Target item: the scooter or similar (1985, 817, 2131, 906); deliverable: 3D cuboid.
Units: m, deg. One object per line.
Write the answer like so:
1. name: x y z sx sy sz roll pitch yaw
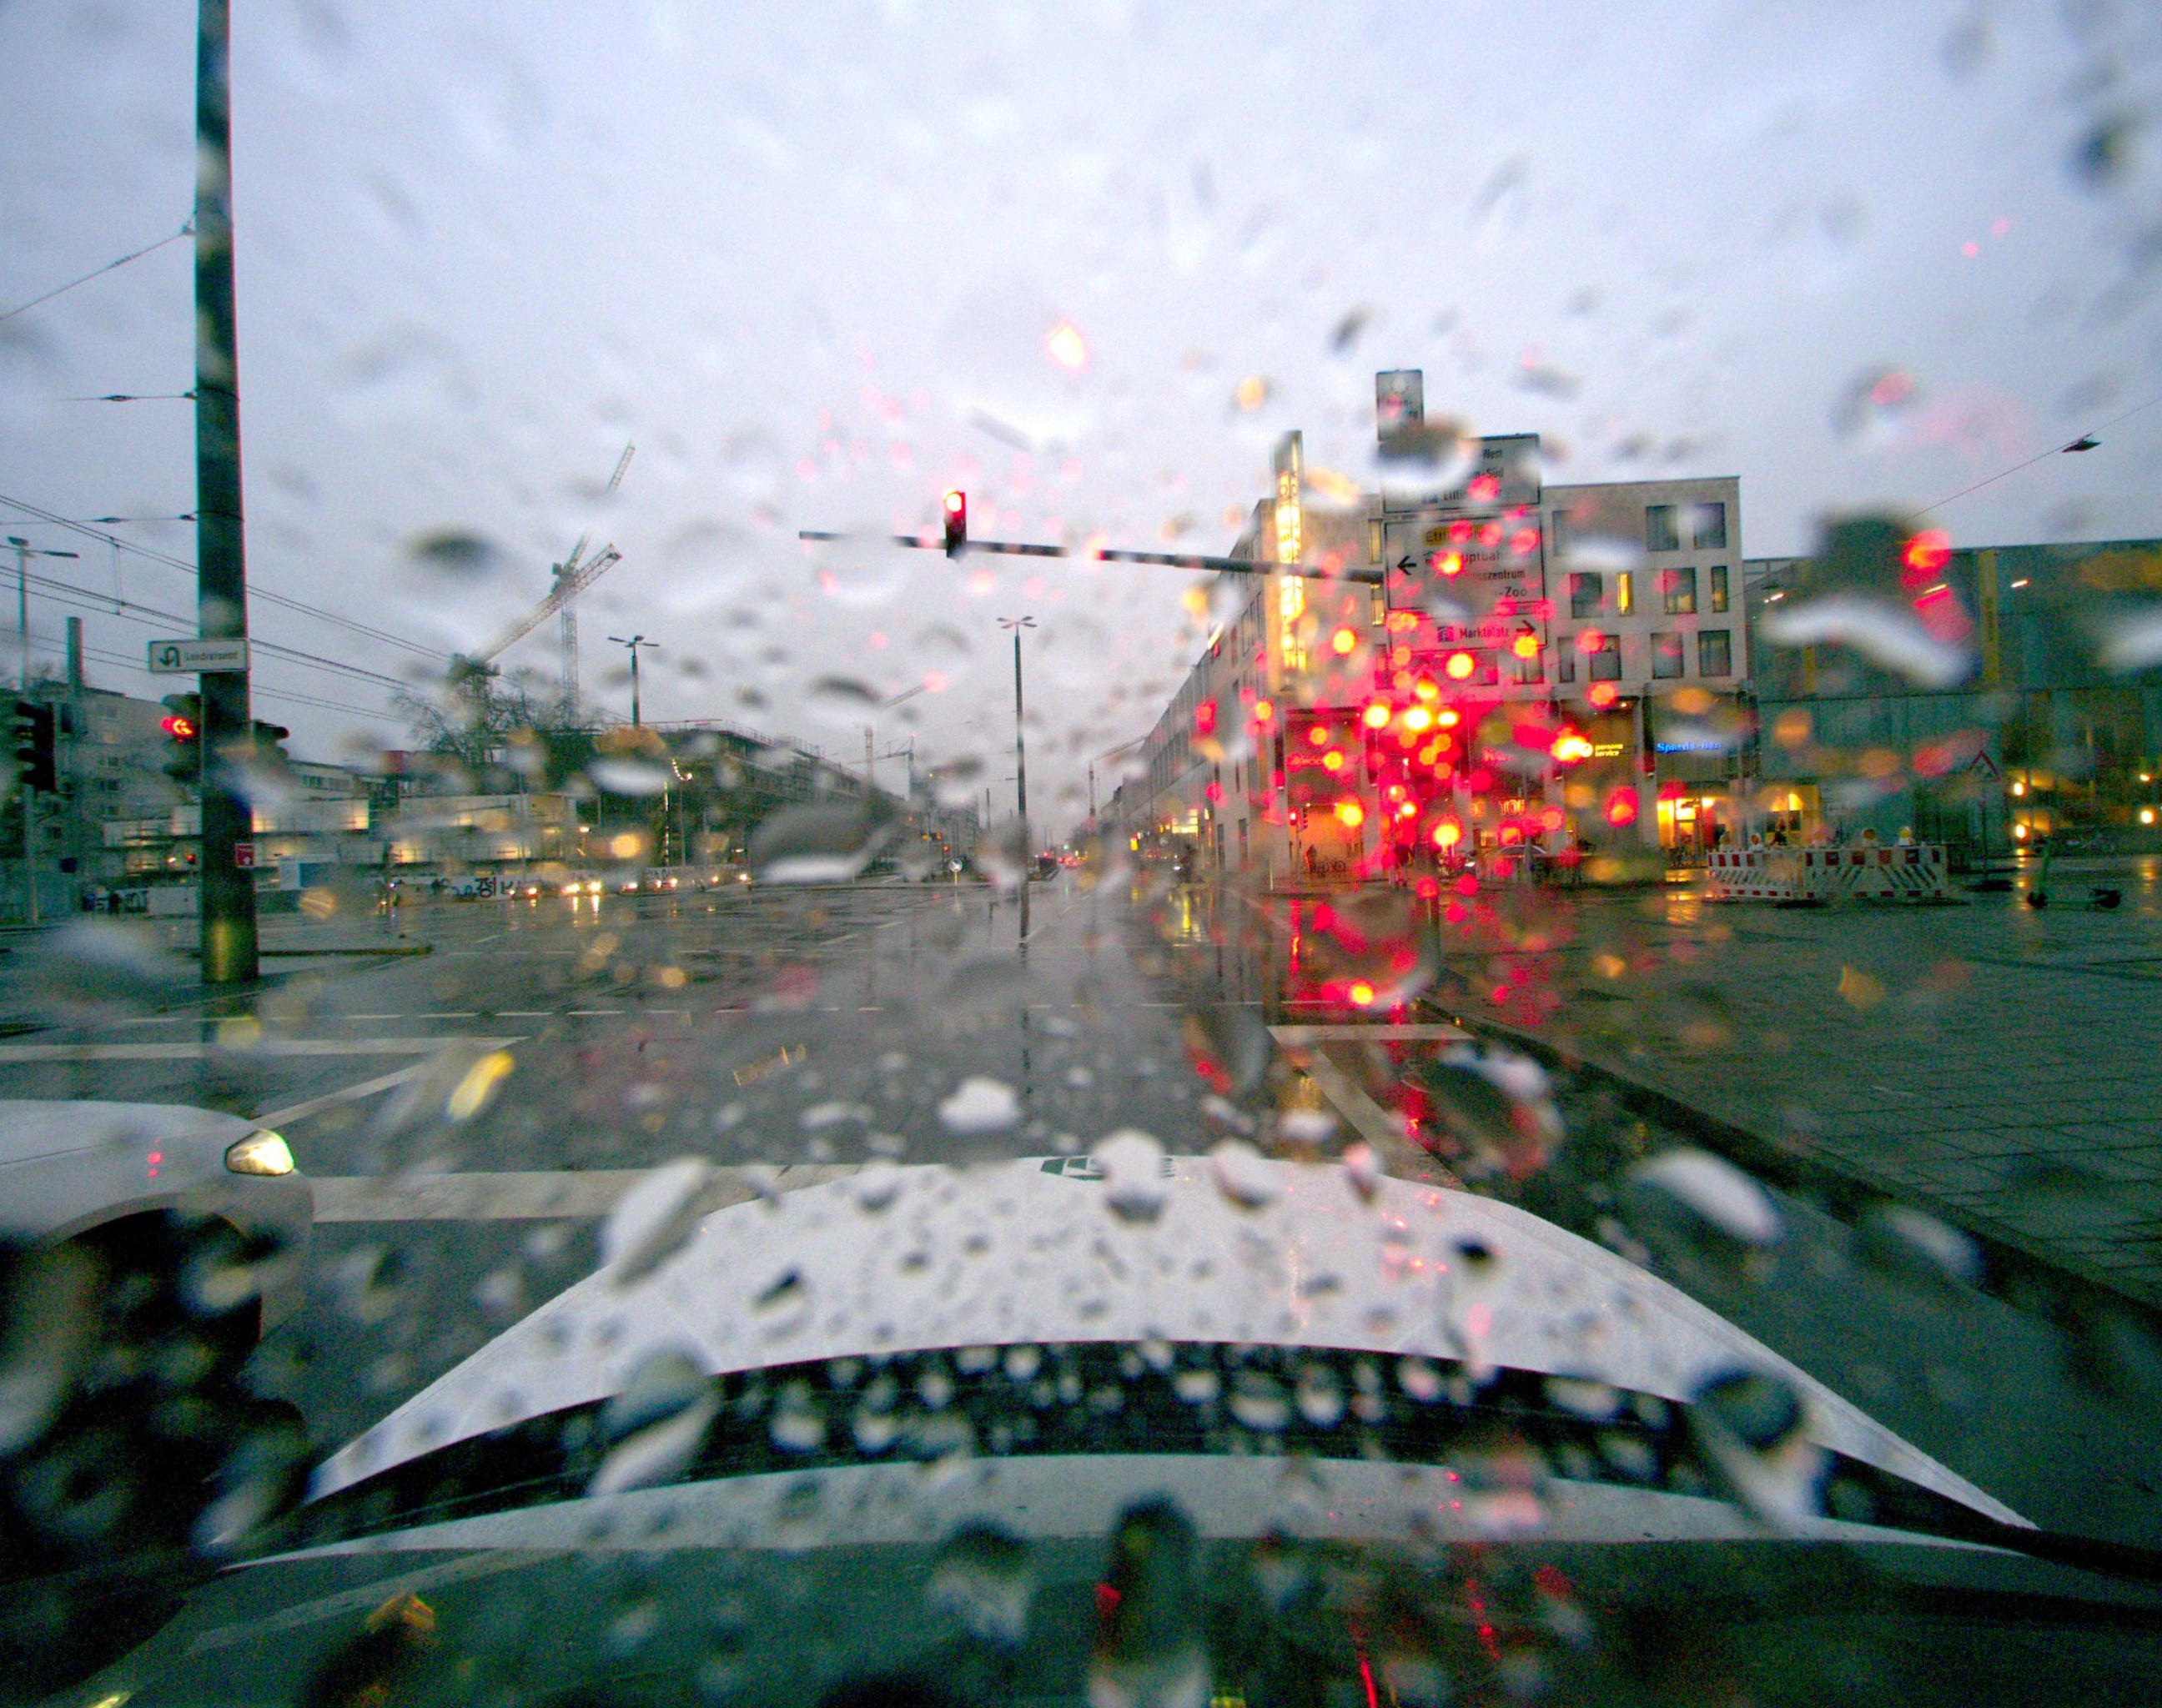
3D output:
1. scooter or similar: 15.711 0.110 13.150 0.590 1.352 1.495 0 0 2

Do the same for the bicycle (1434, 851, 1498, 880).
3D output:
1. bicycle: 19.255 0.577 40.786 2.705 1.359 0.957 -2 -1 -2

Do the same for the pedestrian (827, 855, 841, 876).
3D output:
1. pedestrian: -23.585 1.063 77.807 0.939 2.014 1.094 0 -1 0

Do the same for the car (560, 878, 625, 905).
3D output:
1. car: -33.683 2.549 56.274 1.986 1.657 4.001 -2 0 2

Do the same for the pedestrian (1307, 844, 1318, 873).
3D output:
1. pedestrian: 14.067 0.280 49.533 0.596 1.745 0.526 -1 -1 10

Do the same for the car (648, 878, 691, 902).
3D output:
1. car: -34.568 2.983 68.503 1.862 1.828 3.993 0 -1 -5

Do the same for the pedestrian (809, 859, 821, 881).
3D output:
1. pedestrian: -23.095 1.408 70.618 0.762 1.898 0.763 0 -2 1

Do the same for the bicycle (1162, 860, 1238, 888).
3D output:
1. bicycle: 4.670 0.780 32.028 2.849 1.099 0.744 0 -1 -3

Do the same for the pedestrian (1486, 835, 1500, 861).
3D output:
1. pedestrian: 28.022 -0.411 55.406 0.728 1.718 0.743 -3 -1 29

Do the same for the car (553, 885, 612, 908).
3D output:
1. car: -38.938 3.295 63.759 1.986 1.530 4.001 -2 0 2

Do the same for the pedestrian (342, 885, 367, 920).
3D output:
1. pedestrian: -43.155 2.877 48.384 0.860 2.014 0.625 0 -1 -2

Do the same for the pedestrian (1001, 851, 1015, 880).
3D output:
1. pedestrian: -4.347 0.679 48.264 0.605 1.686 0.581 -1 -1 44

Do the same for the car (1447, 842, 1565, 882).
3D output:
1. car: 17.972 0.351 34.585 3.970 1.618 2.001 0 -1 3

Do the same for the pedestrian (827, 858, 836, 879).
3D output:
1. pedestrian: -22.482 1.311 73.405 0.696 1.881 0.553 0 -1 1

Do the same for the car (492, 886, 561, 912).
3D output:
1. car: -38.625 3.114 56.852 1.986 1.530 4.001 -2 0 2

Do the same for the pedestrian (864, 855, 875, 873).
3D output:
1. pedestrian: -23.912 1.181 92.118 0.939 2.014 1.094 0 -1 0

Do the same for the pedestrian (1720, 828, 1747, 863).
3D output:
1. pedestrian: 32.202 -0.422 40.214 0.737 1.684 0.783 0 -1 8

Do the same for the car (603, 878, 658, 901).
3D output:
1. car: -34.274 2.639 62.078 2.074 1.530 4.603 -2 0 -8

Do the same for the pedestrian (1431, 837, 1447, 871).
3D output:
1. pedestrian: 22.058 0.010 50.193 0.785 2.014 0.595 -3 -1 21

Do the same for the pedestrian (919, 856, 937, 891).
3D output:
1. pedestrian: -8.949 1.129 47.707 0.776 2.014 0.732 -1 -1 44

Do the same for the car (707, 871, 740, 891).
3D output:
1. car: -35.251 2.656 80.408 1.993 1.790 3.987 0 -1 -9

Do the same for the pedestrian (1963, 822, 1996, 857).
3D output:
1. pedestrian: 44.129 -0.697 40.001 0.737 1.684 0.783 0 -1 8

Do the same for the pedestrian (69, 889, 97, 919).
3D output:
1. pedestrian: -60.963 3.040 49.746 0.786 1.776 0.726 -2 -1 8

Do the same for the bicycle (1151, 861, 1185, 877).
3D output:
1. bicycle: 6.580 1.142 61.601 2.434 1.154 0.674 -2 -1 0

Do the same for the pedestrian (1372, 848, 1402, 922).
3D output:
1. pedestrian: 10.215 1.025 27.194 0.712 2.441 0.758 0 -1 1

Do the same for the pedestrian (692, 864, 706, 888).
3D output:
1. pedestrian: -22.365 1.278 47.672 0.731 1.388 0.719 0 -1 -23

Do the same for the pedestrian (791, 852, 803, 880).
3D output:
1. pedestrian: -24.240 1.018 69.504 0.762 2.323 0.763 0 -2 1

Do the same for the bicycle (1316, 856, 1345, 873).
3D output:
1. bicycle: 15.489 0.654 50.587 1.642 1.070 0.524 0 -1 -2

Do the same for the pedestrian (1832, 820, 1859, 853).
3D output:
1. pedestrian: 41.913 -0.951 44.651 0.782 1.739 0.779 -3 -1 17

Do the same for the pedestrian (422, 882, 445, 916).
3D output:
1. pedestrian: -41.254 2.853 51.872 0.872 2.165 0.763 0 -1 -7

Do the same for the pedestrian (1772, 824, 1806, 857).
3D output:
1. pedestrian: 36.755 -0.706 42.290 1.026 1.684 0.824 0 -1 1

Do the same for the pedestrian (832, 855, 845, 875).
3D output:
1. pedestrian: -23.698 1.078 79.521 0.939 2.014 1.094 0 -1 0

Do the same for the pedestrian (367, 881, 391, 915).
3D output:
1. pedestrian: -42.292 2.657 49.044 0.781 2.014 0.748 0 -1 6

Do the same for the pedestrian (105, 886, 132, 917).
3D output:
1. pedestrian: -60.522 2.979 51.232 0.788 1.902 0.717 -2 -1 0

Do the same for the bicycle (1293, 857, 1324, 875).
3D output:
1. bicycle: 14.007 0.731 50.133 1.756 1.070 0.526 -1 -1 9

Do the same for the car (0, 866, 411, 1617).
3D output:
1. car: -3.215 0.812 0.328 2.010 1.487 4.561 -2 0 1

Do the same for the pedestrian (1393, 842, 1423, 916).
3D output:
1. pedestrian: 11.026 0.831 27.492 0.687 2.441 0.758 0 -1 1

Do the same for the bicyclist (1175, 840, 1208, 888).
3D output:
1. bicyclist: 4.349 0.391 32.011 1.153 1.871 0.745 0 -1 -2

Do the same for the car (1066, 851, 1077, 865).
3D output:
1. car: -1.398 0.573 119.945 1.572 2.013 3.170 -2 0 0

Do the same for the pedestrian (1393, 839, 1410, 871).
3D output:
1. pedestrian: 20.700 0.084 52.654 0.841 2.013 0.700 -2 0 10

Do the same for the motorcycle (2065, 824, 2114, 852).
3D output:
1. motorcycle: 48.207 -0.757 38.928 1.482 1.352 0.595 0 0 5

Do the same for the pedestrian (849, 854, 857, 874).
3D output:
1. pedestrian: -22.828 1.010 81.628 0.569 1.968 0.664 1 -1 -4

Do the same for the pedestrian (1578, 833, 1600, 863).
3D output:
1. pedestrian: 29.377 -0.362 47.094 0.890 1.684 0.528 -2 -1 1

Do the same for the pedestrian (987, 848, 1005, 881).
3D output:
1. pedestrian: -4.879 0.598 46.796 0.826 1.831 0.778 0 -1 -29

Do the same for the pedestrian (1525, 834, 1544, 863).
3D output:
1. pedestrian: 26.805 -0.319 48.110 0.737 1.684 0.783 0 -1 8

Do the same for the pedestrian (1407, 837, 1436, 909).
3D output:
1. pedestrian: 11.752 0.659 28.122 0.691 2.448 0.792 0 -1 1
